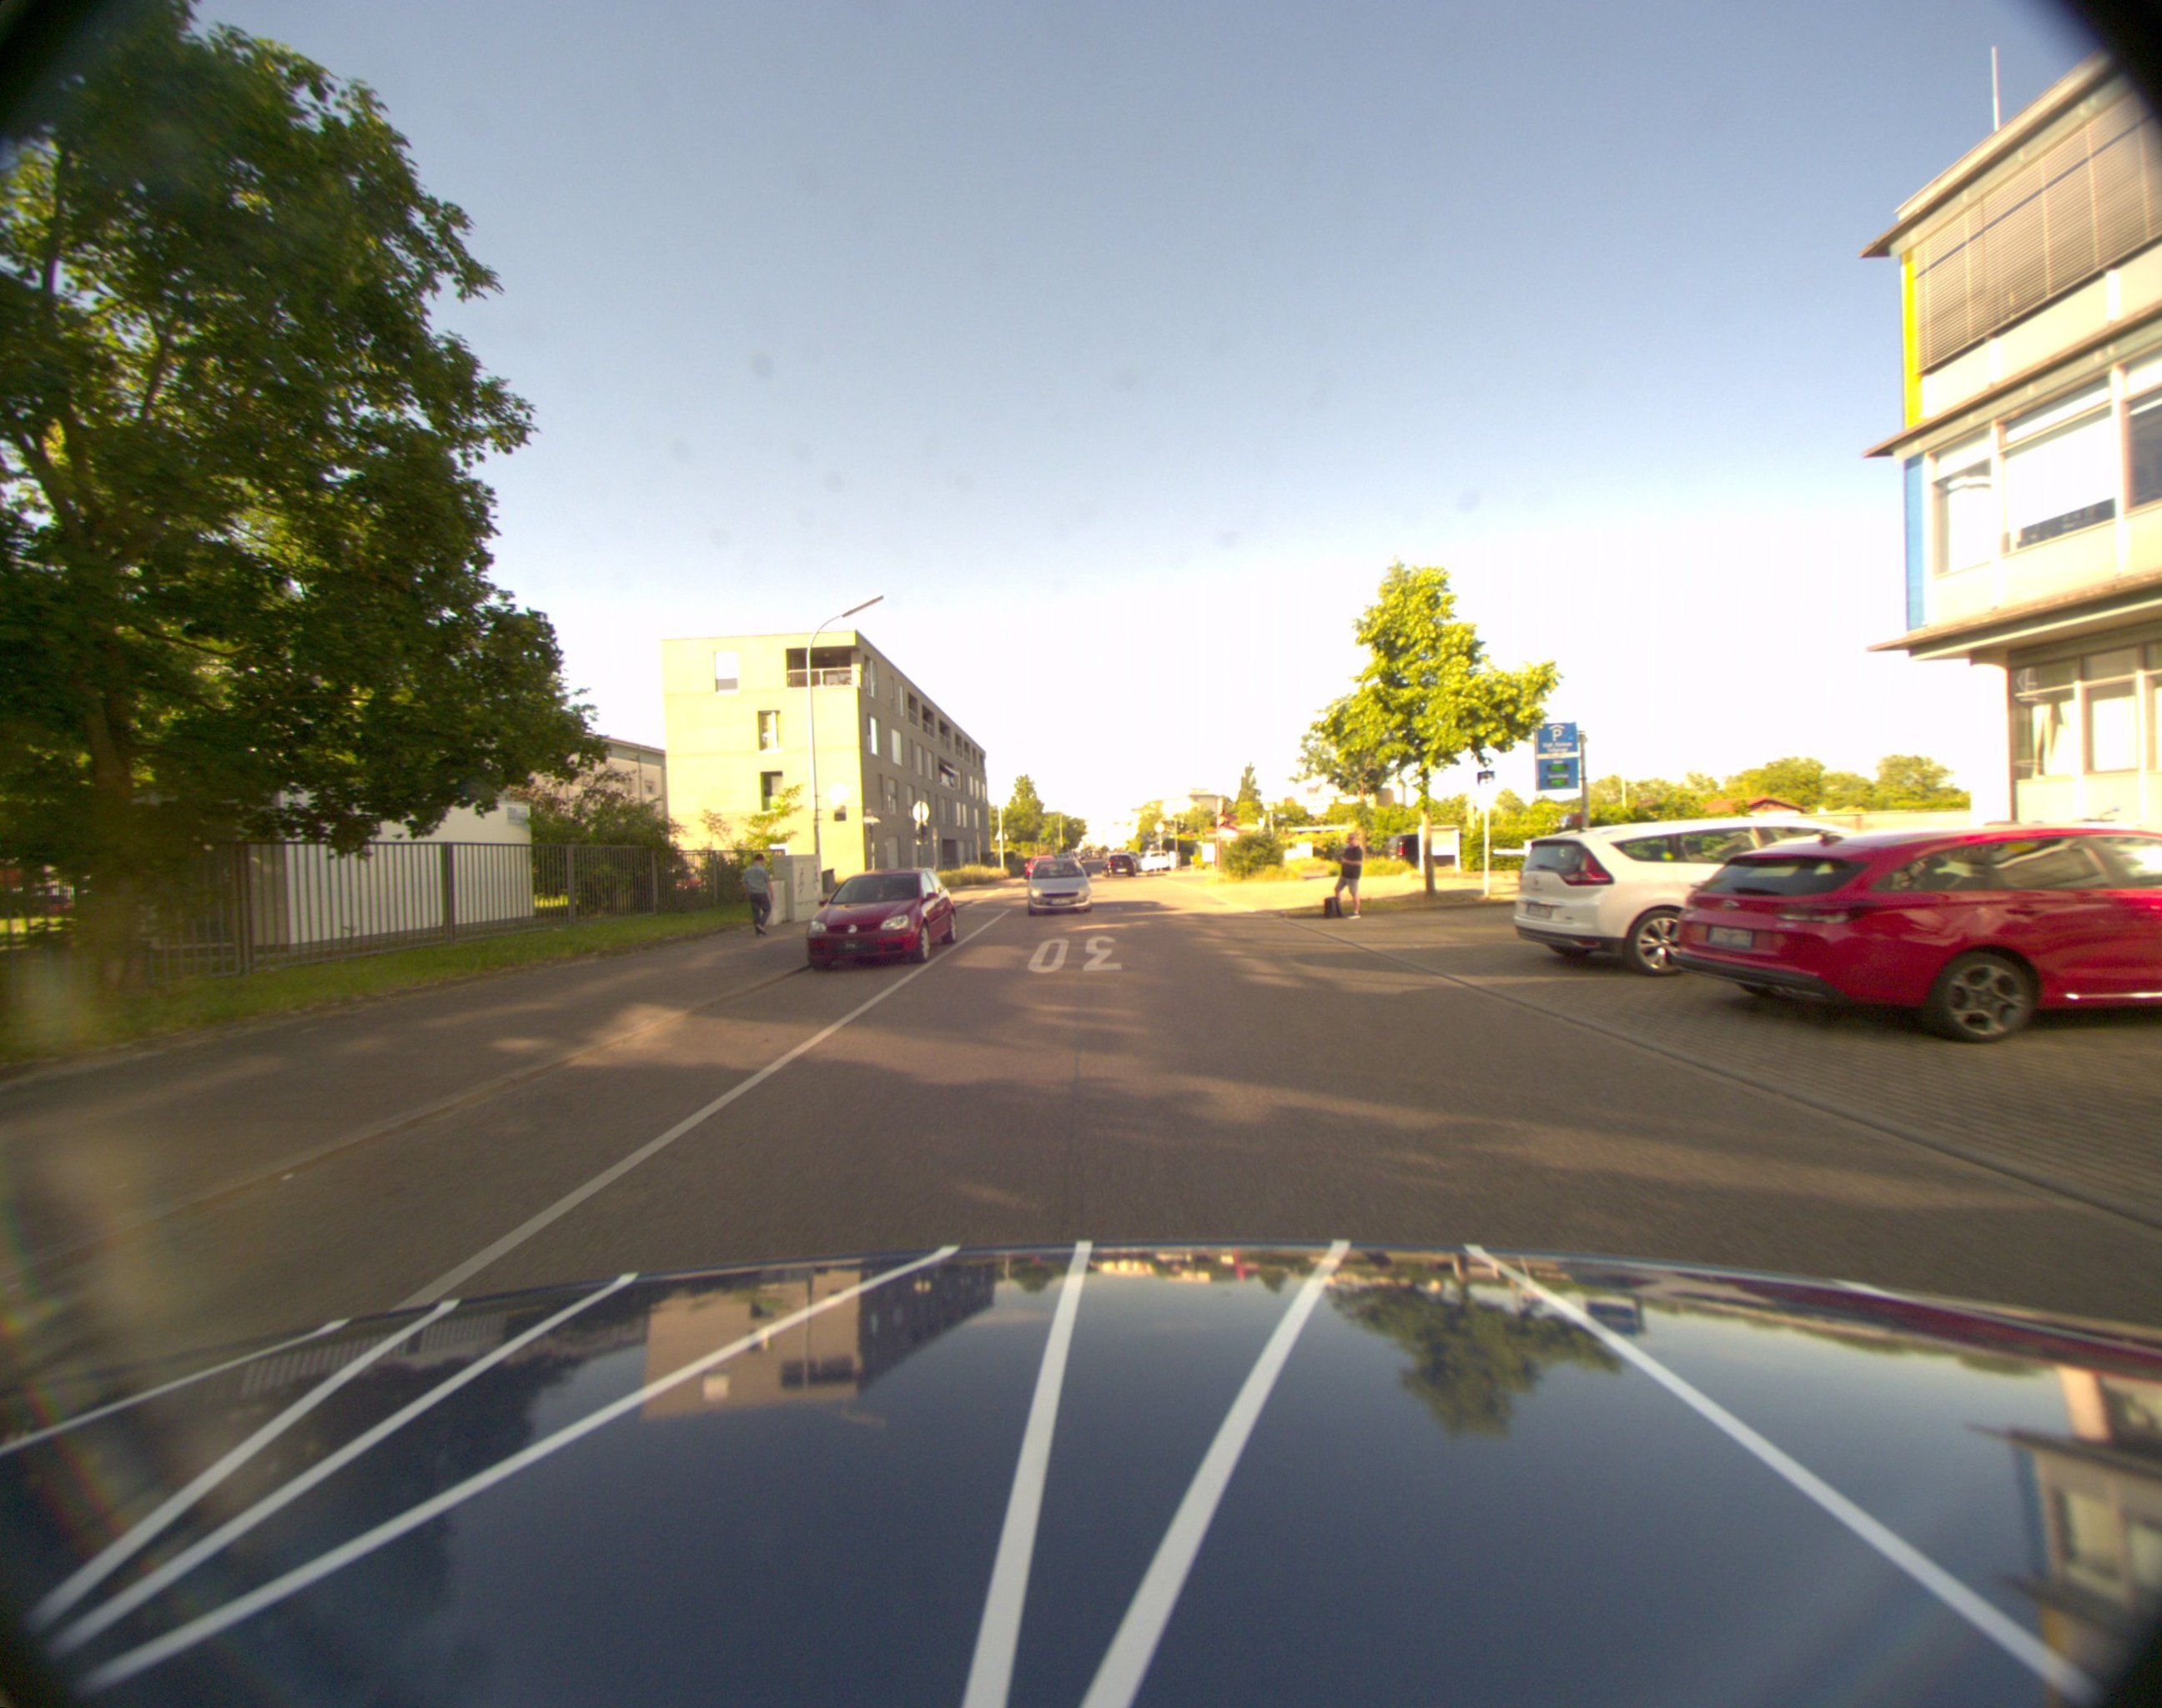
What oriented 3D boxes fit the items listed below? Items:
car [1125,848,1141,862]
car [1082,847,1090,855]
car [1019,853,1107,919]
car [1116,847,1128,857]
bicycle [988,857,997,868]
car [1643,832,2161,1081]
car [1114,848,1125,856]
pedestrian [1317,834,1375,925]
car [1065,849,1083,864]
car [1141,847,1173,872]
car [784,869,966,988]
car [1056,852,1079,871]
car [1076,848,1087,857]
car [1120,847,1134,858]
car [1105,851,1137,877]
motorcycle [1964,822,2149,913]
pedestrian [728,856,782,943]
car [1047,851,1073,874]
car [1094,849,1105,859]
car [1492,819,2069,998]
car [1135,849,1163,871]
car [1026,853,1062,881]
[{"bbox_3d":[6.001,0.084,87.862,1.531,1.479,3.401,-3,1,1],"label":"car"},{"bbox_3d":[1.205,-0.728,179.492,1.998,2.002,4.000,-1,1,1],"label":"car"},{"bbox_3d":[-0.384,0.807,20.948,1.678,1.440,4.001,-4,1,8],"label":"car"},{"bbox_3d":[6.668,-0.350,123.742,1.700,1.421,4.385,-2,1,1],"label":"car"},{"bbox_3d":[-8.811,0.816,75.649,0.553,1.055,1.842,-3,1,5],"label":"bicycle"},{"bbox_3d":[7.287,0.655,5.891,4.444,1.492,1.827,-2,1,1],"label":"car"},{"bbox_3d":[6.713,-0.409,133.710,1.700,1.361,3.910,-2,1,1],"label":"car"},{"bbox_3d":[5.615,0.534,16.121,0.860,1.832,0.825,-4,1,3],"label":"pedestrian"},{"bbox_3d":[-0.783,0.304,91.336,1.749,1.557,4.803,-4,1,3],"label":"car"},{"bbox_3d":[5.141,0.373,51.975,1.700,1.504,4.517,-5,0,1],"label":"car"},{"bbox_3d":[-3.233,1.087,12.962,1.724,1.446,4.651,-3,0,0],"label":"car"},{"bbox_3d":[-1.201,0.651,67.504,1.749,1.421,4.585,-4,0,2],"label":"car"},{"bbox_3d":[0.173,-0.281,142.480,1.873,1.517,4.155,-3,1,2],"label":"car"},{"bbox_3d":[6.412,-0.210,105.662,1.700,1.415,4.516,-4,0,1],"label":"car"},{"bbox_3d":[2.335,0.547,45.482,1.708,1.443,4.086,-1,1,0],"label":"car"},{"bbox_3d":[14.322,0.191,11.179,2.048,1.142,0.499,-5,0,-1],"label":"motorcycle"},{"bbox_3d":[-6.743,0.910,15.766,0.719,1.748,0.885,0,1,2],"label":"pedestrian"},{"bbox_3d":[-1.689,0.650,61.859,1.821,1.590,4.627,-4,0,0],"label":"car"},{"bbox_3d":[3.612,0.006,146.419,1.947,1.717,4.839,-2,0,3],"label":"car"},{"bbox_3d":[7.505,0.560,8.600,4.622,1.641,1.868,-2,1,4],"label":"car"},{"bbox_3d":[5.180,0.413,58.416,1.751,1.437,4.541,-5,0,1],"label":"car"},{"bbox_3d":[-2.124,0.737,44.960,1.823,1.491,4.451,-3,0,0],"label":"car"}]
